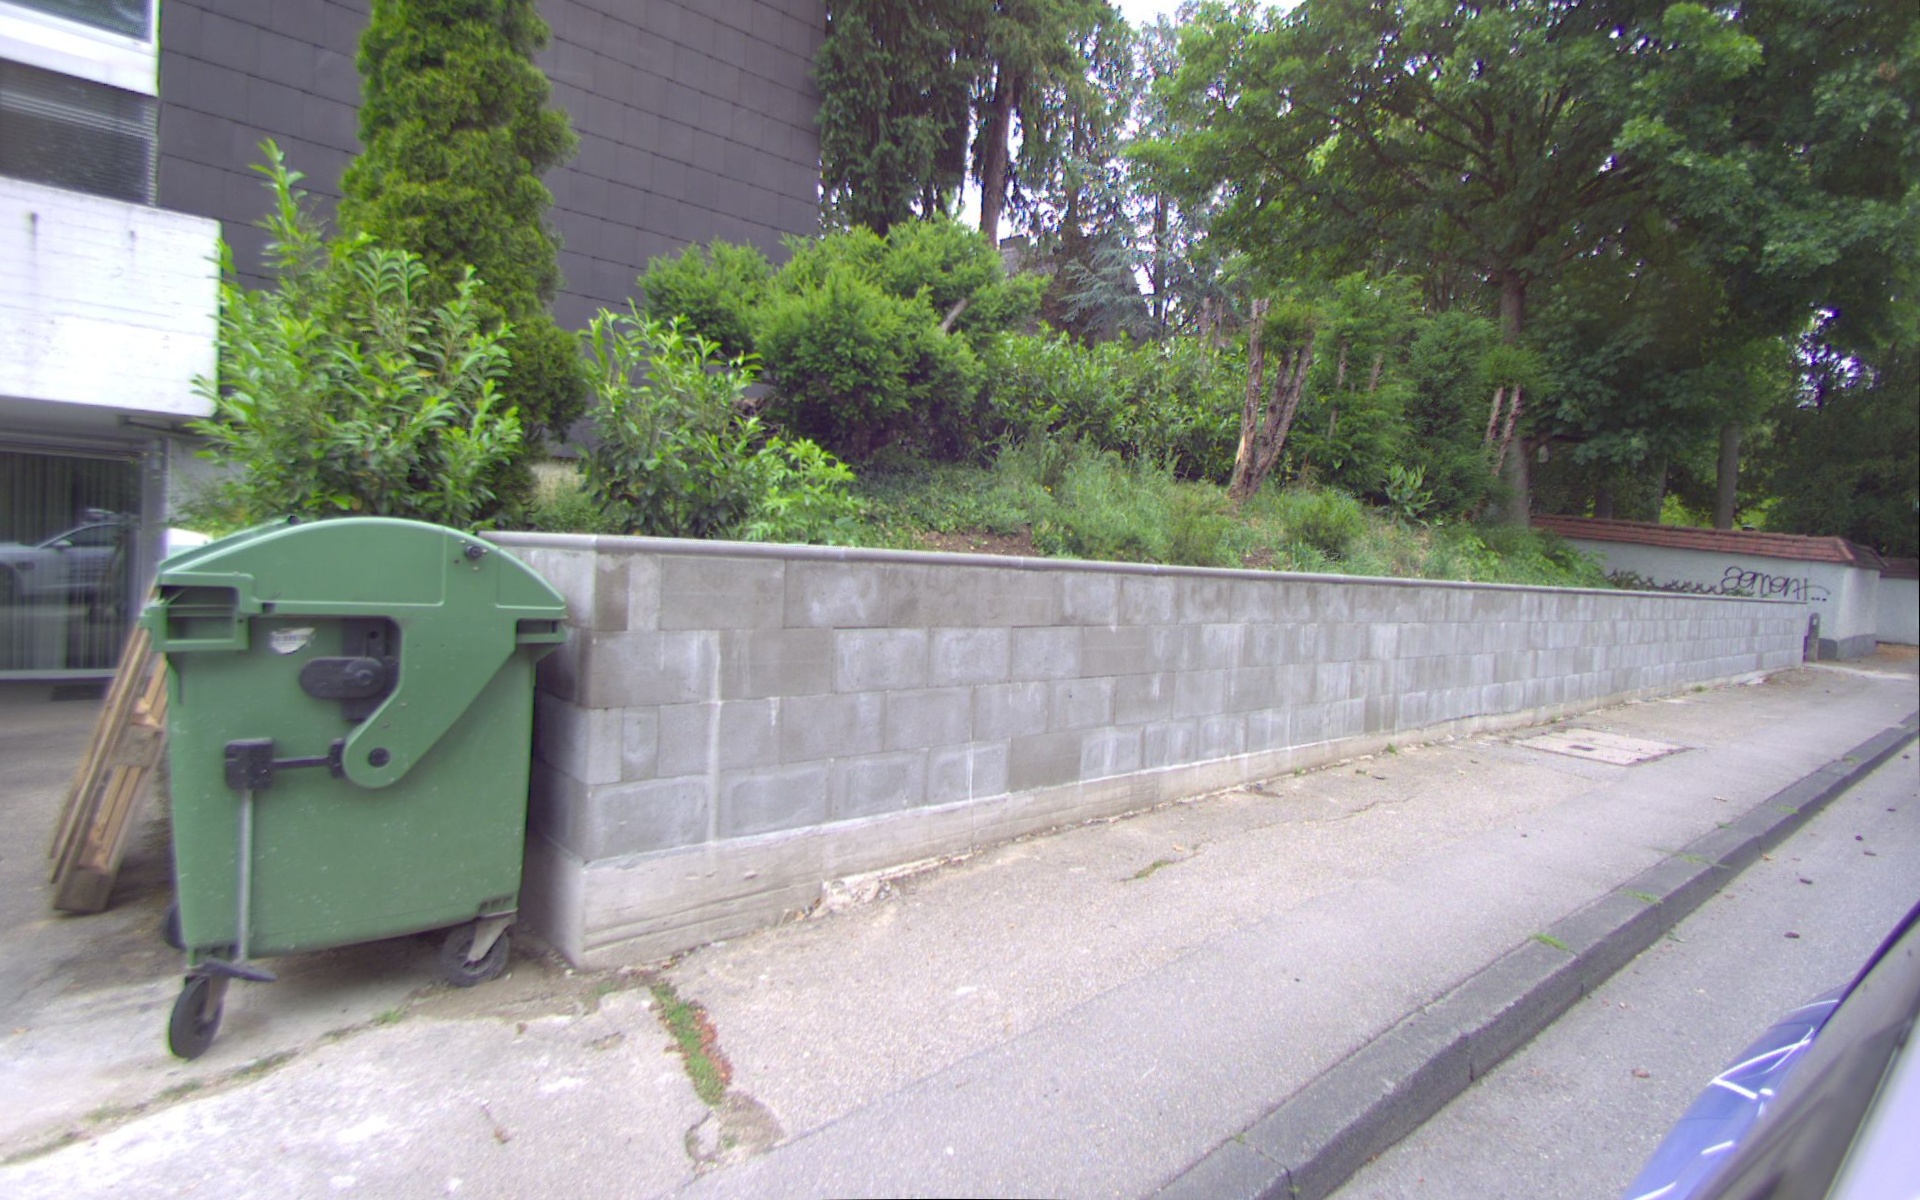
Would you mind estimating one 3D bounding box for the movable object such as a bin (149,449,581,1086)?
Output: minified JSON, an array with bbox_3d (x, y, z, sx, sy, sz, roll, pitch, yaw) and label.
[{"bbox_3d":[-1.884,0.386,3.177,1.014,1.549,1.037,0,2,-39],"label":"movable object such as a bin"}]
